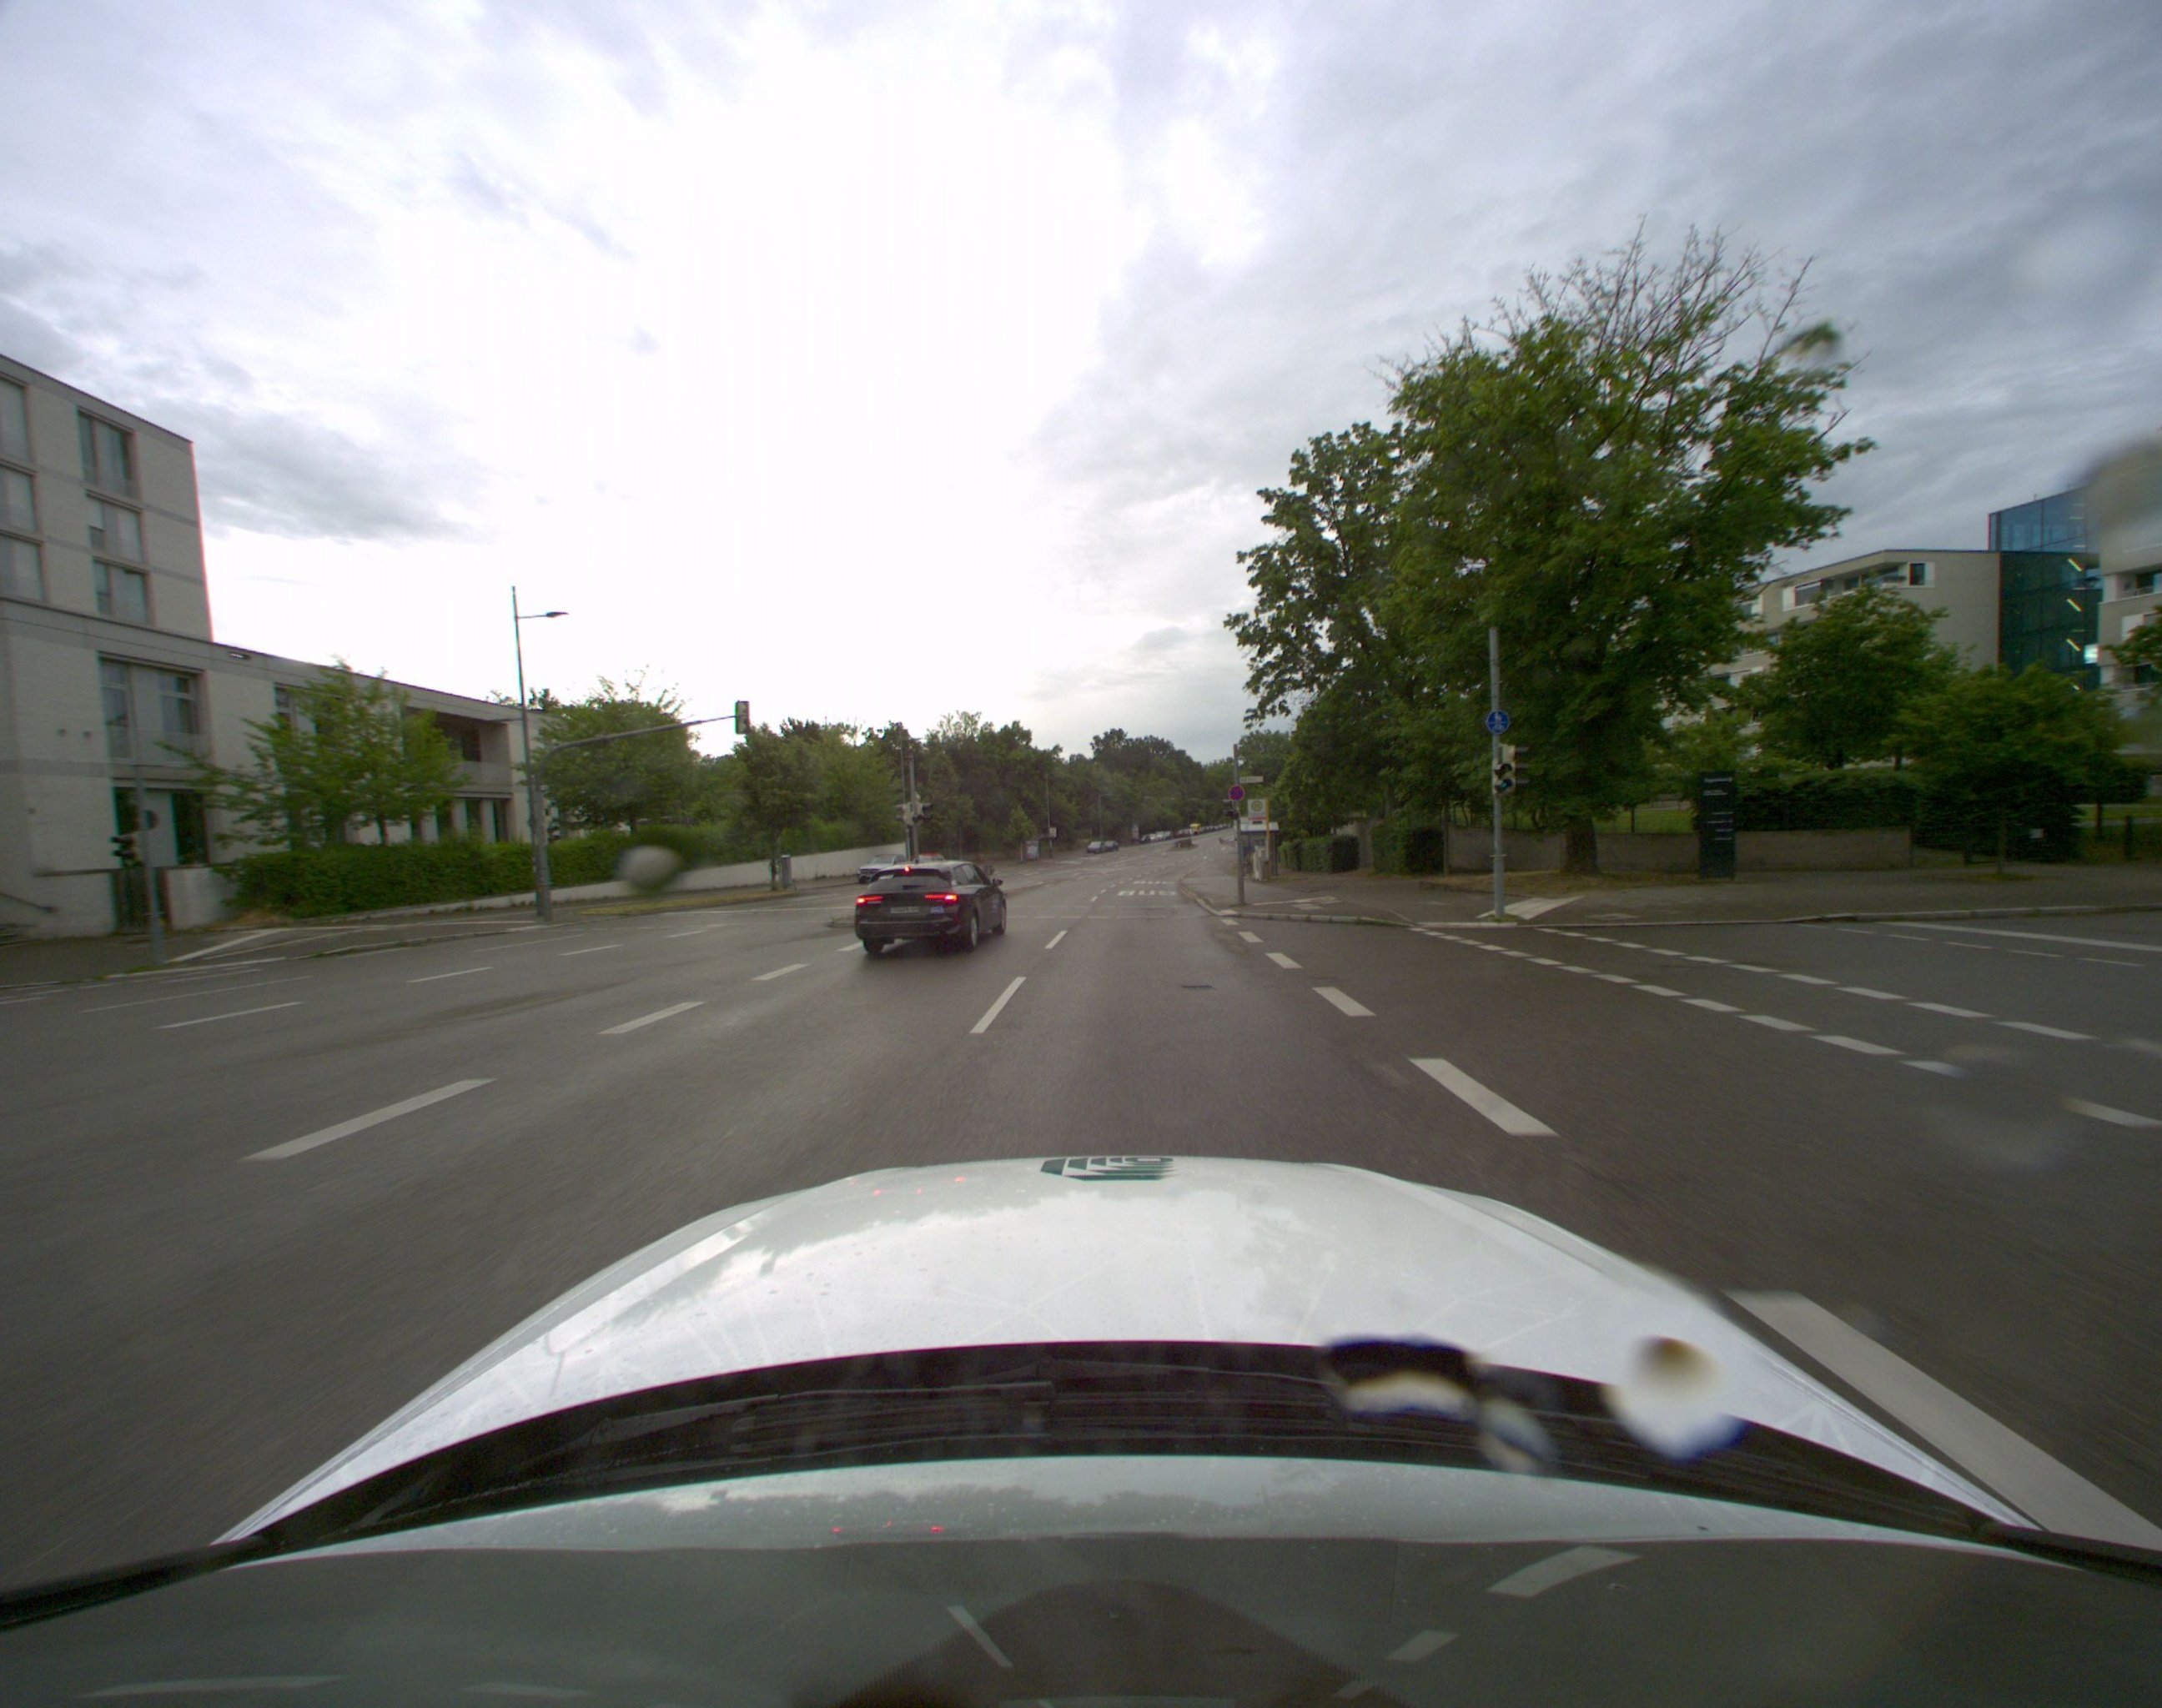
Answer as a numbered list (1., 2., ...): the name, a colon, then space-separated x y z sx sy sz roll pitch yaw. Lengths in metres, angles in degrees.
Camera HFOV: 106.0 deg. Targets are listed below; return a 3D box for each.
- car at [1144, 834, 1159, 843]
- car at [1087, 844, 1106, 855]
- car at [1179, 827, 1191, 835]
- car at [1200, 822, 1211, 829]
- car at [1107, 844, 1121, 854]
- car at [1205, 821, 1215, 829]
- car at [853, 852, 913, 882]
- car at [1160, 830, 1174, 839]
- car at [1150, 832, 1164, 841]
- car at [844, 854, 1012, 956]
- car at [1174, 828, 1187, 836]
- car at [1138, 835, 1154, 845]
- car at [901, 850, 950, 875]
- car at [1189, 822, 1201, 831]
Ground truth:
1. car: 12.840 -2.887 148.356 1.844 1.485 4.020 0 4 18
2. car: 2.138 -0.617 109.405 1.701 1.460 3.764 -2 0 13
3. car: 22.855 -5.005 178.460 1.941 1.485 4.020 0 4 18
4. car: 29.819 -6.867 195.468 1.941 1.653 4.020 0 4 18
5. car: 4.744 -0.727 115.236 1.407 1.424 3.133 -2 0 13
6. car: 31.936 -7.162 201.867 1.941 1.653 4.020 0 4 18
7. car: -11.721 0.744 48.485 1.841 1.639 4.107 0 1 11
8. car: 17.126 -3.901 161.355 1.941 1.485 4.020 0 4 18
9. car: 14.315 -3.265 153.220 1.941 1.485 4.020 0 4 18
10. car: -2.441 0.753 14.244 1.792 1.430 4.524 -1 0 4
11. car: 21.255 -4.604 173.293 1.941 1.485 4.020 0 4 18
12. car: 11.541 -2.517 143.541 1.941 1.485 4.020 0 4 18
13. car: -10.572 0.535 55.720 1.863 1.575 4.235 0 1 10
14. car: 26.367 -6.416 188.412 1.941 1.936 4.020 0 4 18
